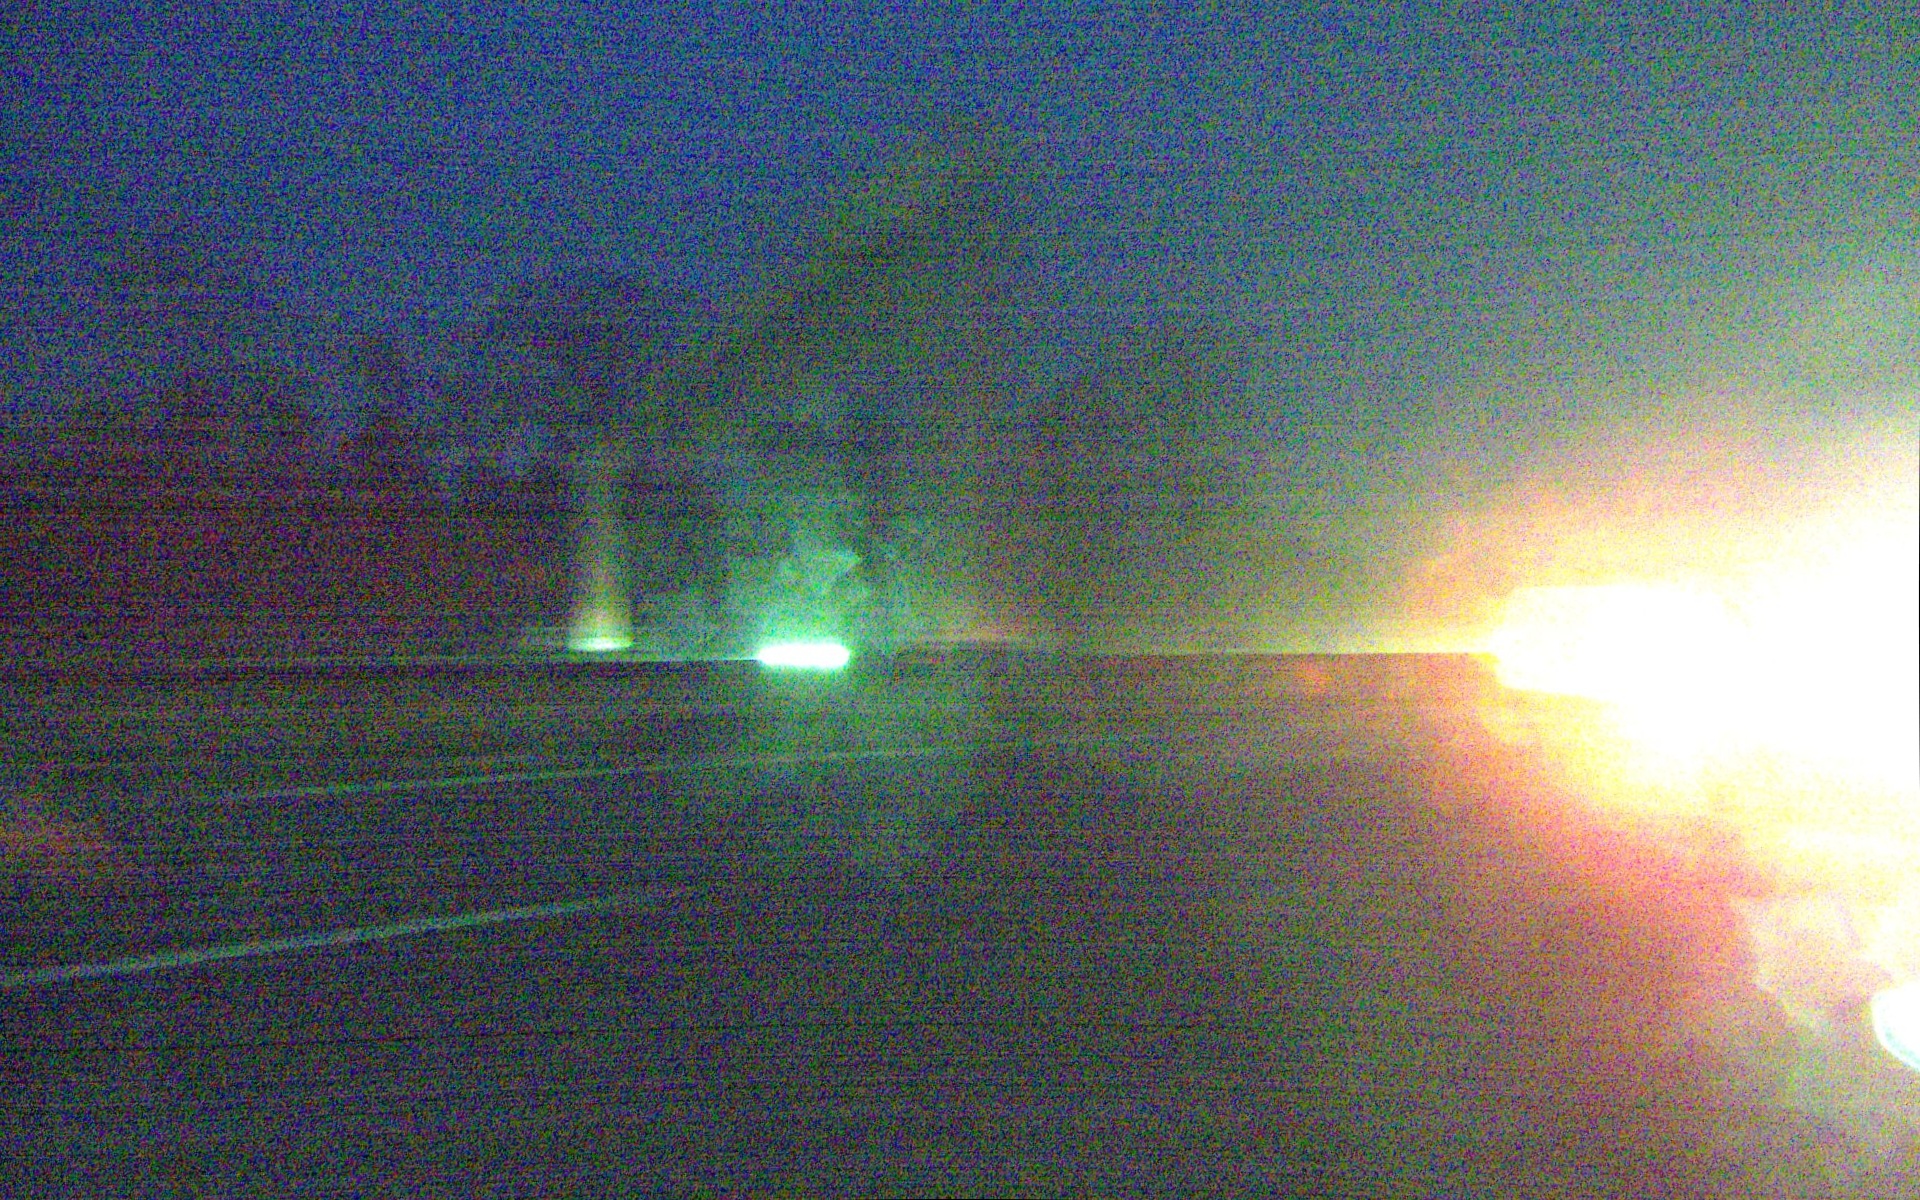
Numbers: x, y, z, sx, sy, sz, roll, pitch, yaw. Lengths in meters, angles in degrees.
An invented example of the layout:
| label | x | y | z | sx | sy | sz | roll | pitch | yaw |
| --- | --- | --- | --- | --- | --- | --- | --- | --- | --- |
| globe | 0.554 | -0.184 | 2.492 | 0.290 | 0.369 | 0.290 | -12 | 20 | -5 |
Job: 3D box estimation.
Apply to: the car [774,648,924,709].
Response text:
| label | x | y | z | sx | sy | sz | roll | pitch | yaw |
| --- | --- | --- | --- | --- | --- | --- | --- | --- | --- |
| car | -3.234 | 2.258 | 29.374 | 3.953 | 1.593 | 1.791 | 2 | 0 | -30 |

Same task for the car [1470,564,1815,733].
| label | x | y | z | sx | sy | sz | roll | pitch | yaw |
| --- | --- | --- | --- | --- | --- | --- | --- | --- | --- |
| car | 10.282 | 0.674 | 15.000 | 5.564 | 2.132 | 2.113 | 1 | -1 | -31 |

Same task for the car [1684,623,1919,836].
| label | x | y | z | sx | sy | sz | roll | pitch | yaw |
| --- | --- | --- | --- | --- | --- | --- | --- | --- | --- |
| car | 8.096 | 0.940 | 8.679 | 4.202 | 1.450 | 1.646 | 1 | 0 | -34 |
